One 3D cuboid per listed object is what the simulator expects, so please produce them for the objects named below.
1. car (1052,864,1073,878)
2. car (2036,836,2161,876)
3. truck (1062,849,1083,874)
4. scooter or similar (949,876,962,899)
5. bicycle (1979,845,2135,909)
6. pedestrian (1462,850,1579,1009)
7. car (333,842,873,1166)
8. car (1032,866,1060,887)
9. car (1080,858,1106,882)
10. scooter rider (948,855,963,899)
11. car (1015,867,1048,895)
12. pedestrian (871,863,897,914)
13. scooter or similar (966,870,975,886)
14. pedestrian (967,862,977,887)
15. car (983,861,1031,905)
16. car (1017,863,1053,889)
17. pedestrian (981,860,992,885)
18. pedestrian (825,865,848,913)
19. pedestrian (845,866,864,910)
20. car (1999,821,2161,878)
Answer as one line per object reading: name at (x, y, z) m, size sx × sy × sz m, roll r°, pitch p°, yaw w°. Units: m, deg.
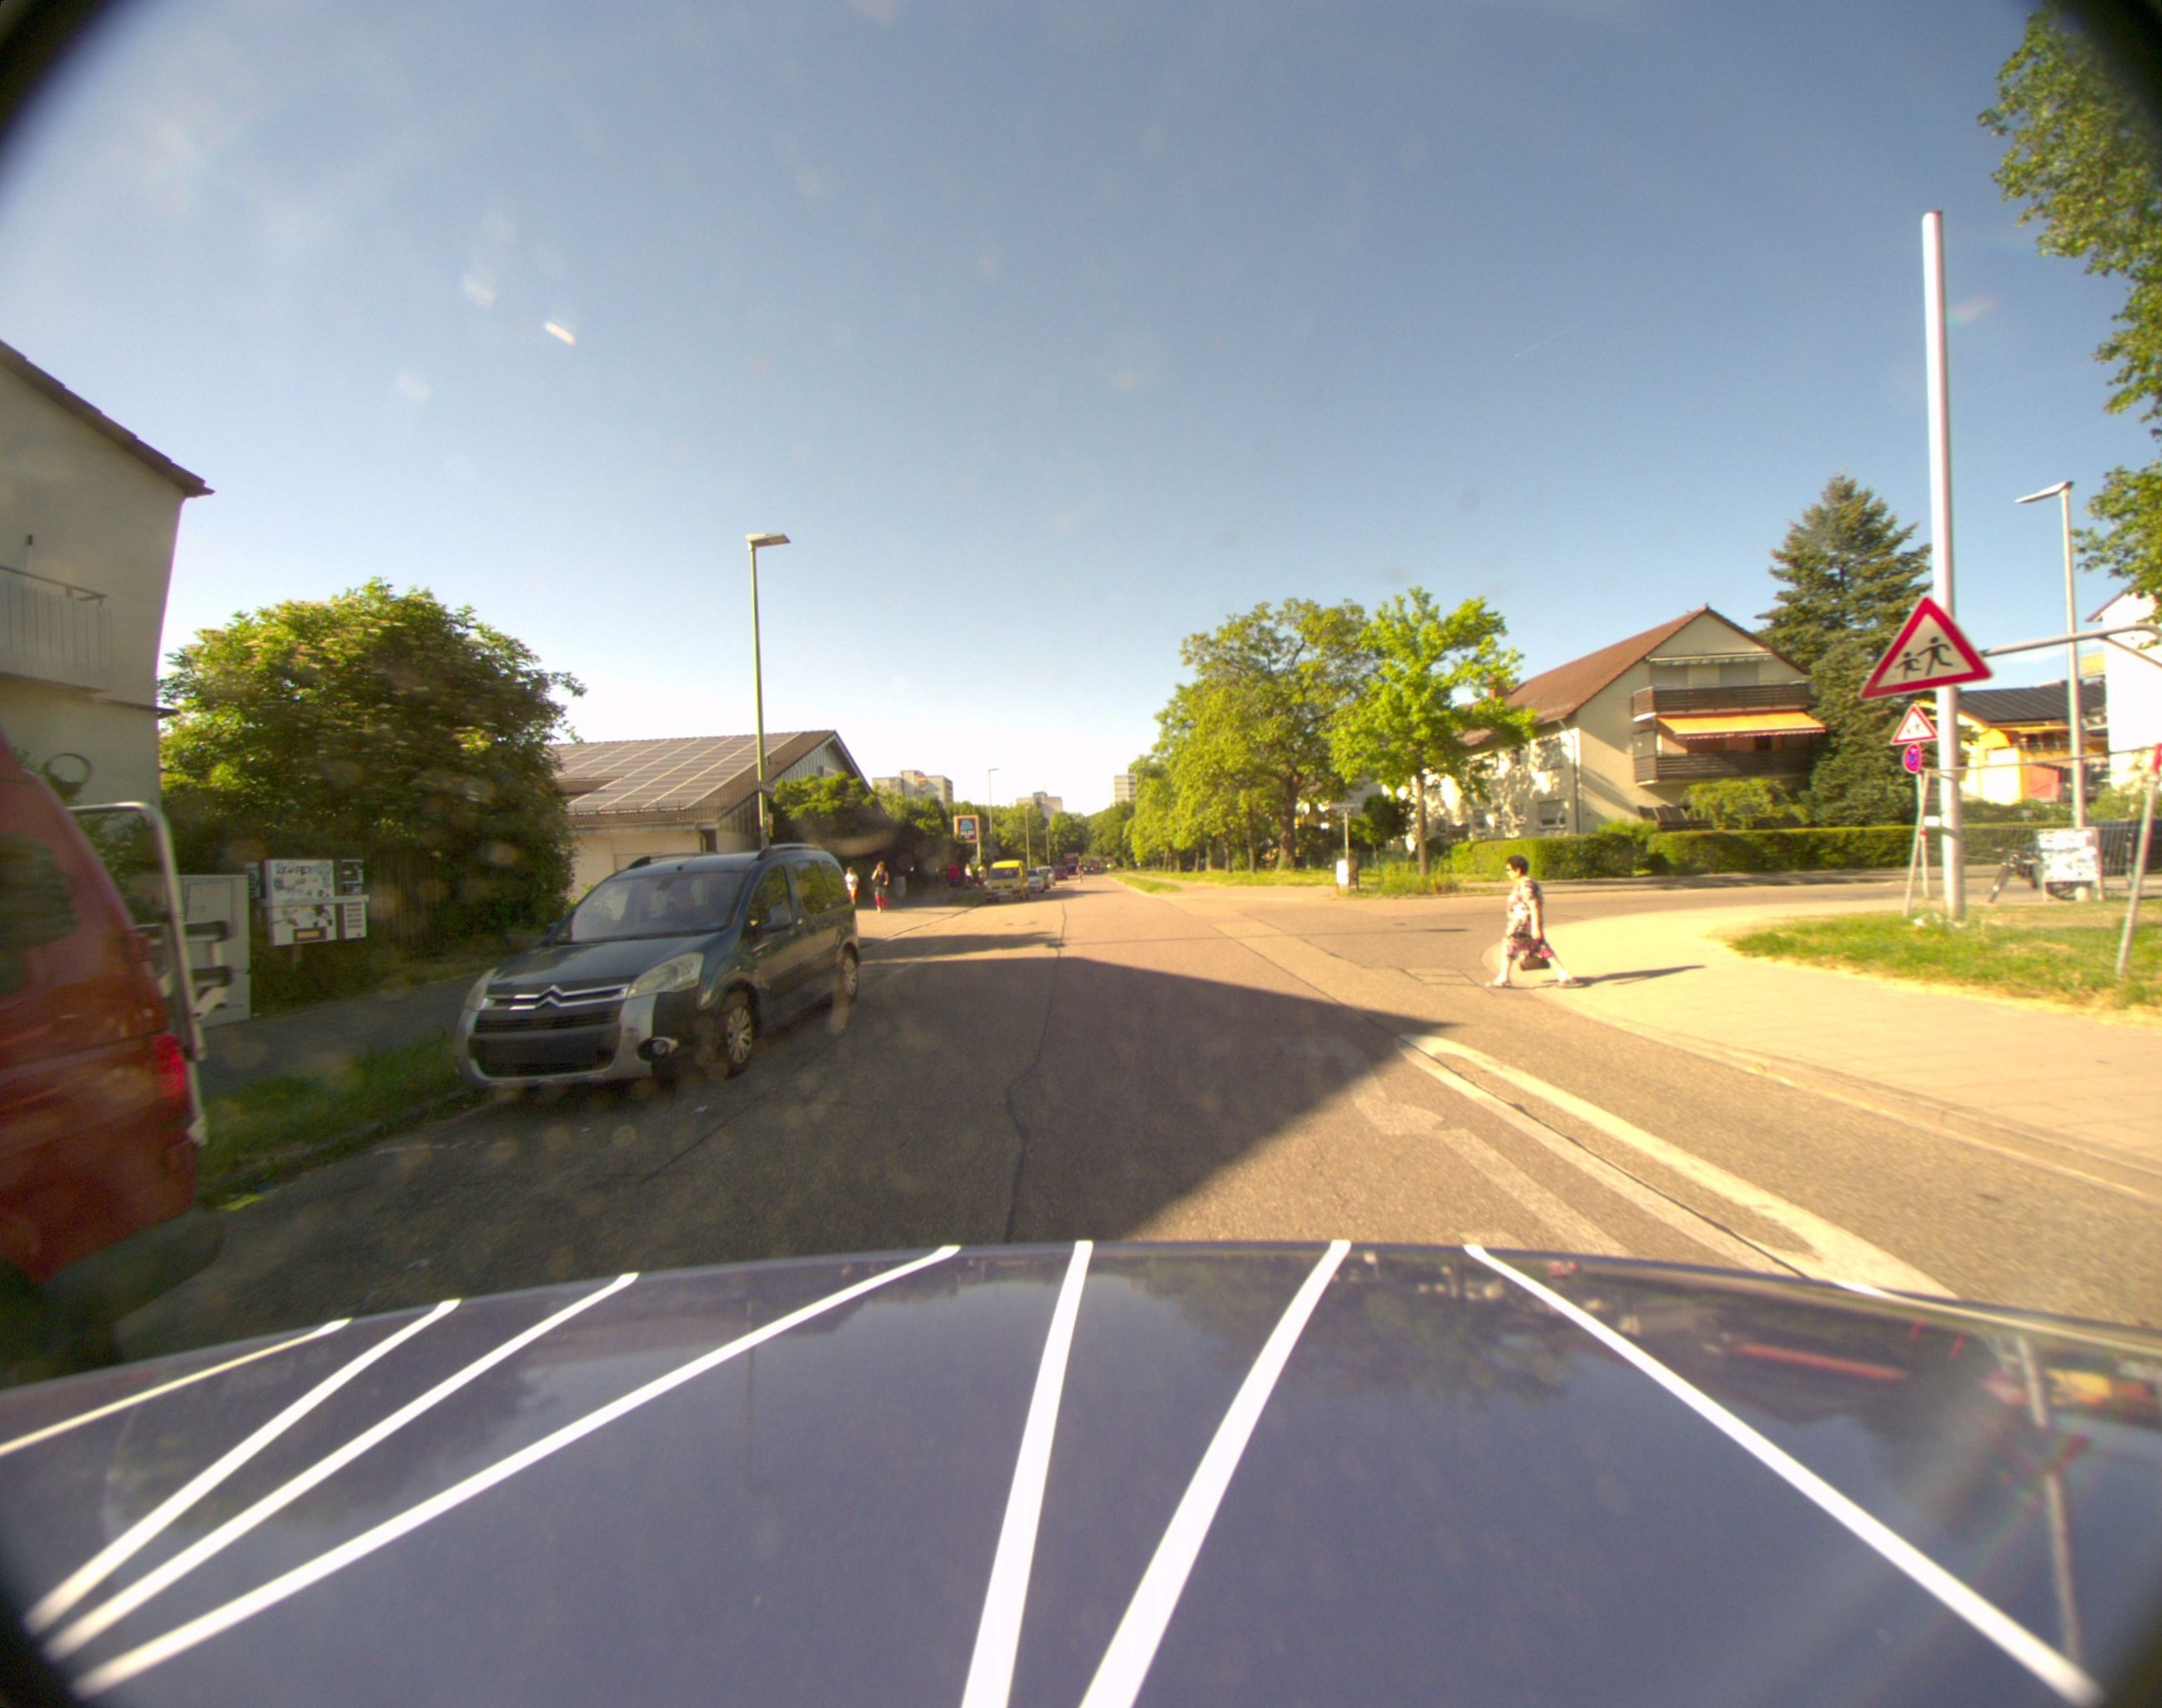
car at (-2.161, 1.977, 89.270) m, size 1.998 × 1.587 × 4.579 m, roll -2°, pitch 0°, yaw 3°
car at (32.425, 0.039, 23.352) m, size 4.020 × 1.026 × 1.631 m, roll -3°, pitch 0°, yaw 0°
truck at (-1.529, 1.447, 144.103) m, size 3.601 × 4.543 × 10.025 m, roll -2°, pitch 0°, yaw 1°
scooter or similar at (-5.786, 1.556, 35.092) m, size 0.457 × 1.024 × 1.049 m, roll 2°, pitch 0°, yaw -5°
bicycle at (16.707, 0.401, 13.050) m, size 1.598 × 0.978 × 0.501 m, roll -4°, pitch -2°, yaw 17°
pedestrian at (4.735, 0.796, 8.190) m, size 0.834 × 1.577 × 0.633 m, roll -6°, pitch 1°, yaw 43°
car at (-3.520, 0.924, 6.887) m, size 1.861 × 1.837 × 4.560 m, roll -4°, pitch 0°, yaw 0°
car at (-2.888, 1.805, 62.874) m, size 1.998 × 1.587 × 4.578 m, roll -3°, pitch -1°, yaw 0°
car at (1.010, 1.383, 66.476) m, size 1.965 × 1.908 × 4.576 m, roll -3°, pitch 0°, yaw -3°
scooter rider at (-5.777, 1.039, 35.006) m, size 0.599 × 2.002 × 0.486 m, roll 1°, pitch 0°, yaw -5°
car at (-2.904, 1.554, 45.304) m, size 1.621 × 1.478 × 3.982 m, roll -3°, pitch 0°, yaw 1°
pedestrian at (-6.648, 1.145, 25.666) m, size 0.635 × 1.679 × 0.896 m, roll 1°, pitch 0°, yaw -2°
scooter or similar at (-7.704, 1.696, 52.985) m, size 0.478 × 1.071 × 0.841 m, roll -2°, pitch 0°, yaw 0°
pedestrian at (-7.696, 1.464, 53.780) m, size 0.541 × 1.757 × 0.590 m, roll -2°, pitch 0°, yaw 0°
car at (-3.202, 1.223, 33.667) m, size 1.621 × 1.766 × 3.982 m, roll -3°, pitch 0°, yaw 1°
car at (-3.036, 1.452, 51.050) m, size 1.998 × 1.587 × 4.579 m, roll -3°, pitch -1°, yaw 1°
pedestrian at (-6.736, 1.334, 53.948) m, size 0.673 × 1.757 × 0.590 m, roll -2°, pitch 0°, yaw -5°
pedestrian at (-8.606, 1.208, 26.779) m, size 0.583 × 1.654 × 0.642 m, roll 1°, pitch 0°, yaw -2°
pedestrian at (-7.897, 1.179, 26.510) m, size 0.447 × 1.524 × 0.666 m, roll 1°, pitch 0°, yaw -2°
car at (29.325, -0.155, 21.494) m, size 4.106 × 1.449 × 2.116 m, roll -3°, pitch -1°, yaw -1°
